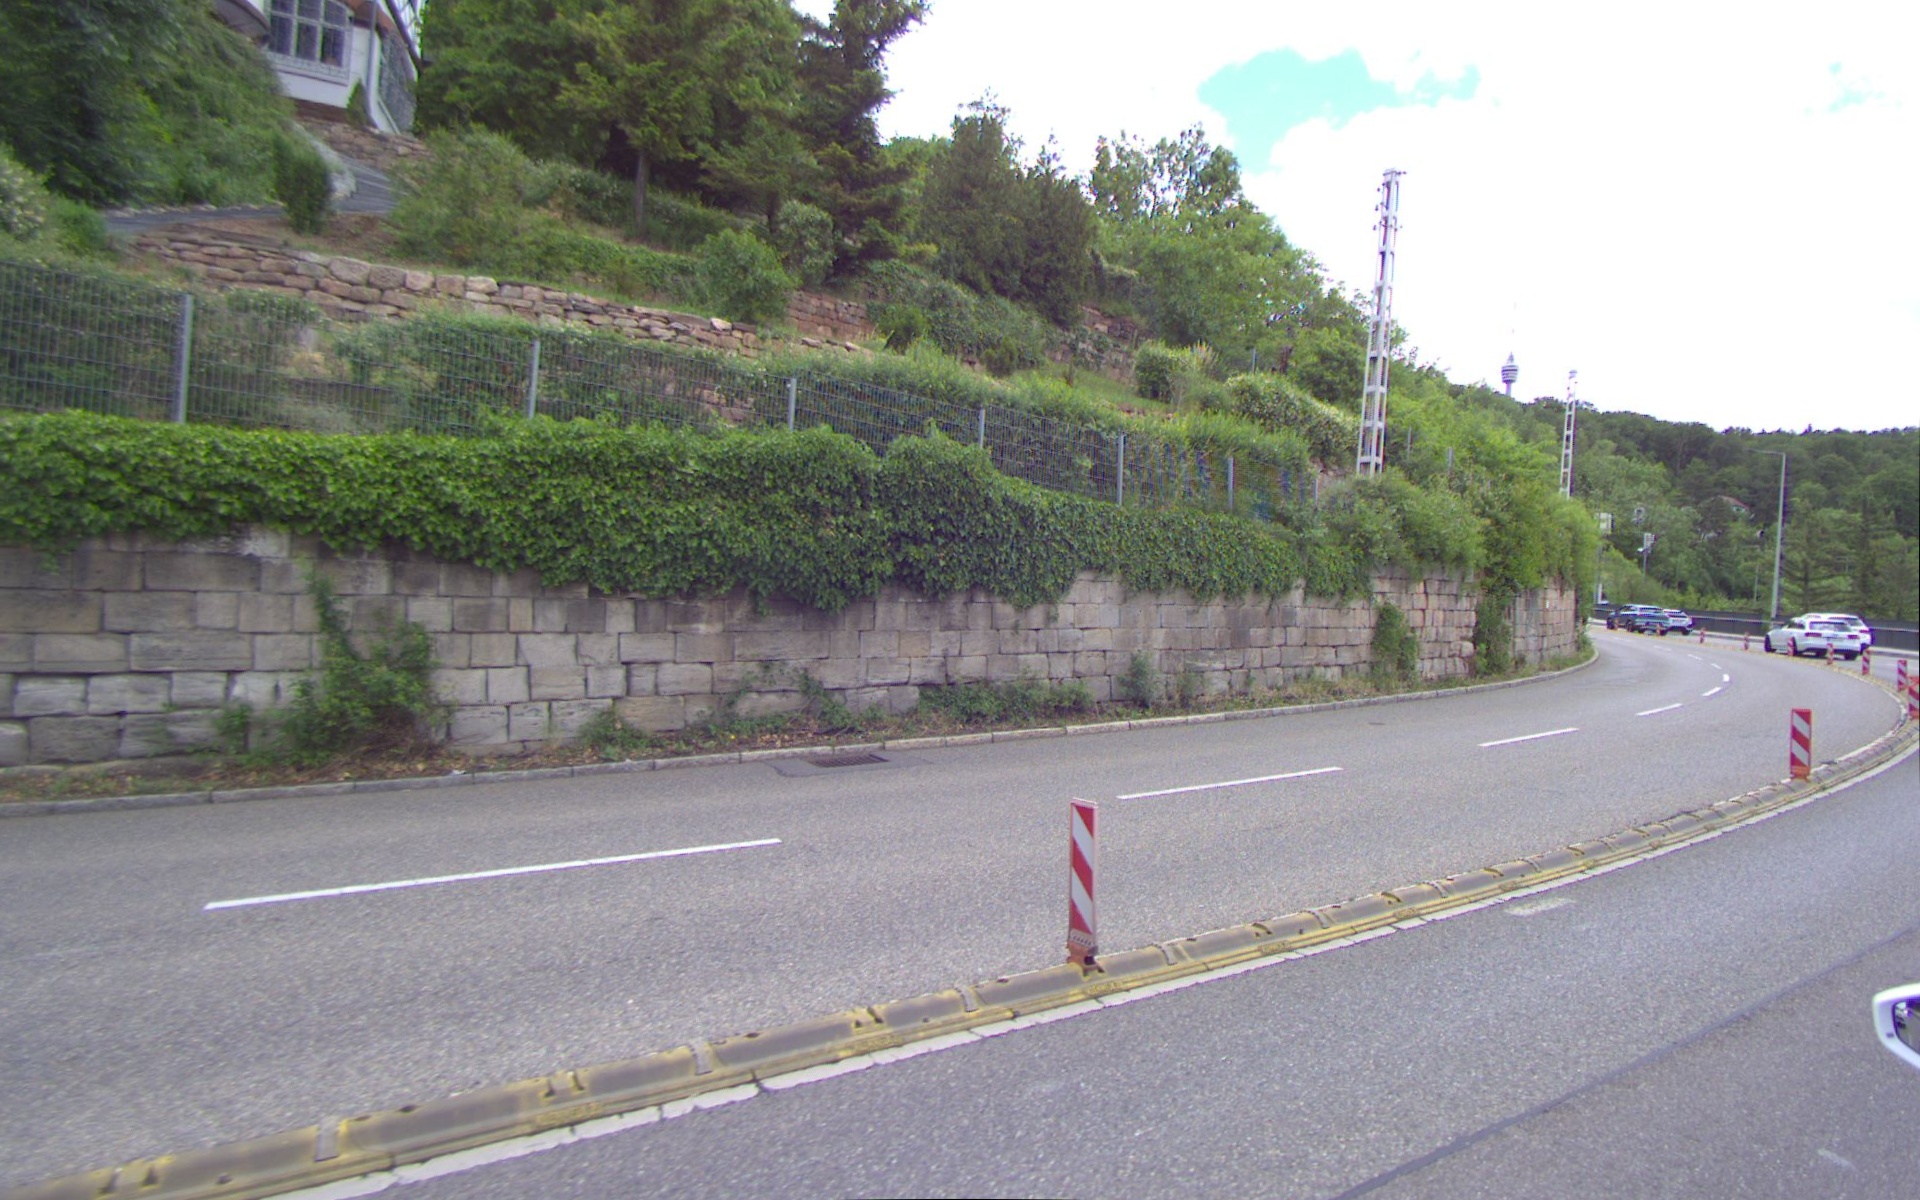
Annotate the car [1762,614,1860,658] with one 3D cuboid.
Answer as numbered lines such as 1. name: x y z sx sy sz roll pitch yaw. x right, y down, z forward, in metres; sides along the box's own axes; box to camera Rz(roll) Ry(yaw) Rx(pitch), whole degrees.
1. car: 32.308 1.331 38.271 1.964 1.523 4.659 0 -1 29

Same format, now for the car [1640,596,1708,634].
1. car: 41.356 0.878 58.268 1.960 2.040 4.002 2 0 16

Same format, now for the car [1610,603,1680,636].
1. car: 37.363 1.085 54.913 1.960 1.670 4.002 0 -2 16

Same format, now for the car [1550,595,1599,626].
1. car: 40.643 0.711 66.474 1.839 1.784 4.002 4 -2 19

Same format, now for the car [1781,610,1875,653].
1. car: 37.119 1.365 43.080 1.962 1.740 4.111 0 -2 25
